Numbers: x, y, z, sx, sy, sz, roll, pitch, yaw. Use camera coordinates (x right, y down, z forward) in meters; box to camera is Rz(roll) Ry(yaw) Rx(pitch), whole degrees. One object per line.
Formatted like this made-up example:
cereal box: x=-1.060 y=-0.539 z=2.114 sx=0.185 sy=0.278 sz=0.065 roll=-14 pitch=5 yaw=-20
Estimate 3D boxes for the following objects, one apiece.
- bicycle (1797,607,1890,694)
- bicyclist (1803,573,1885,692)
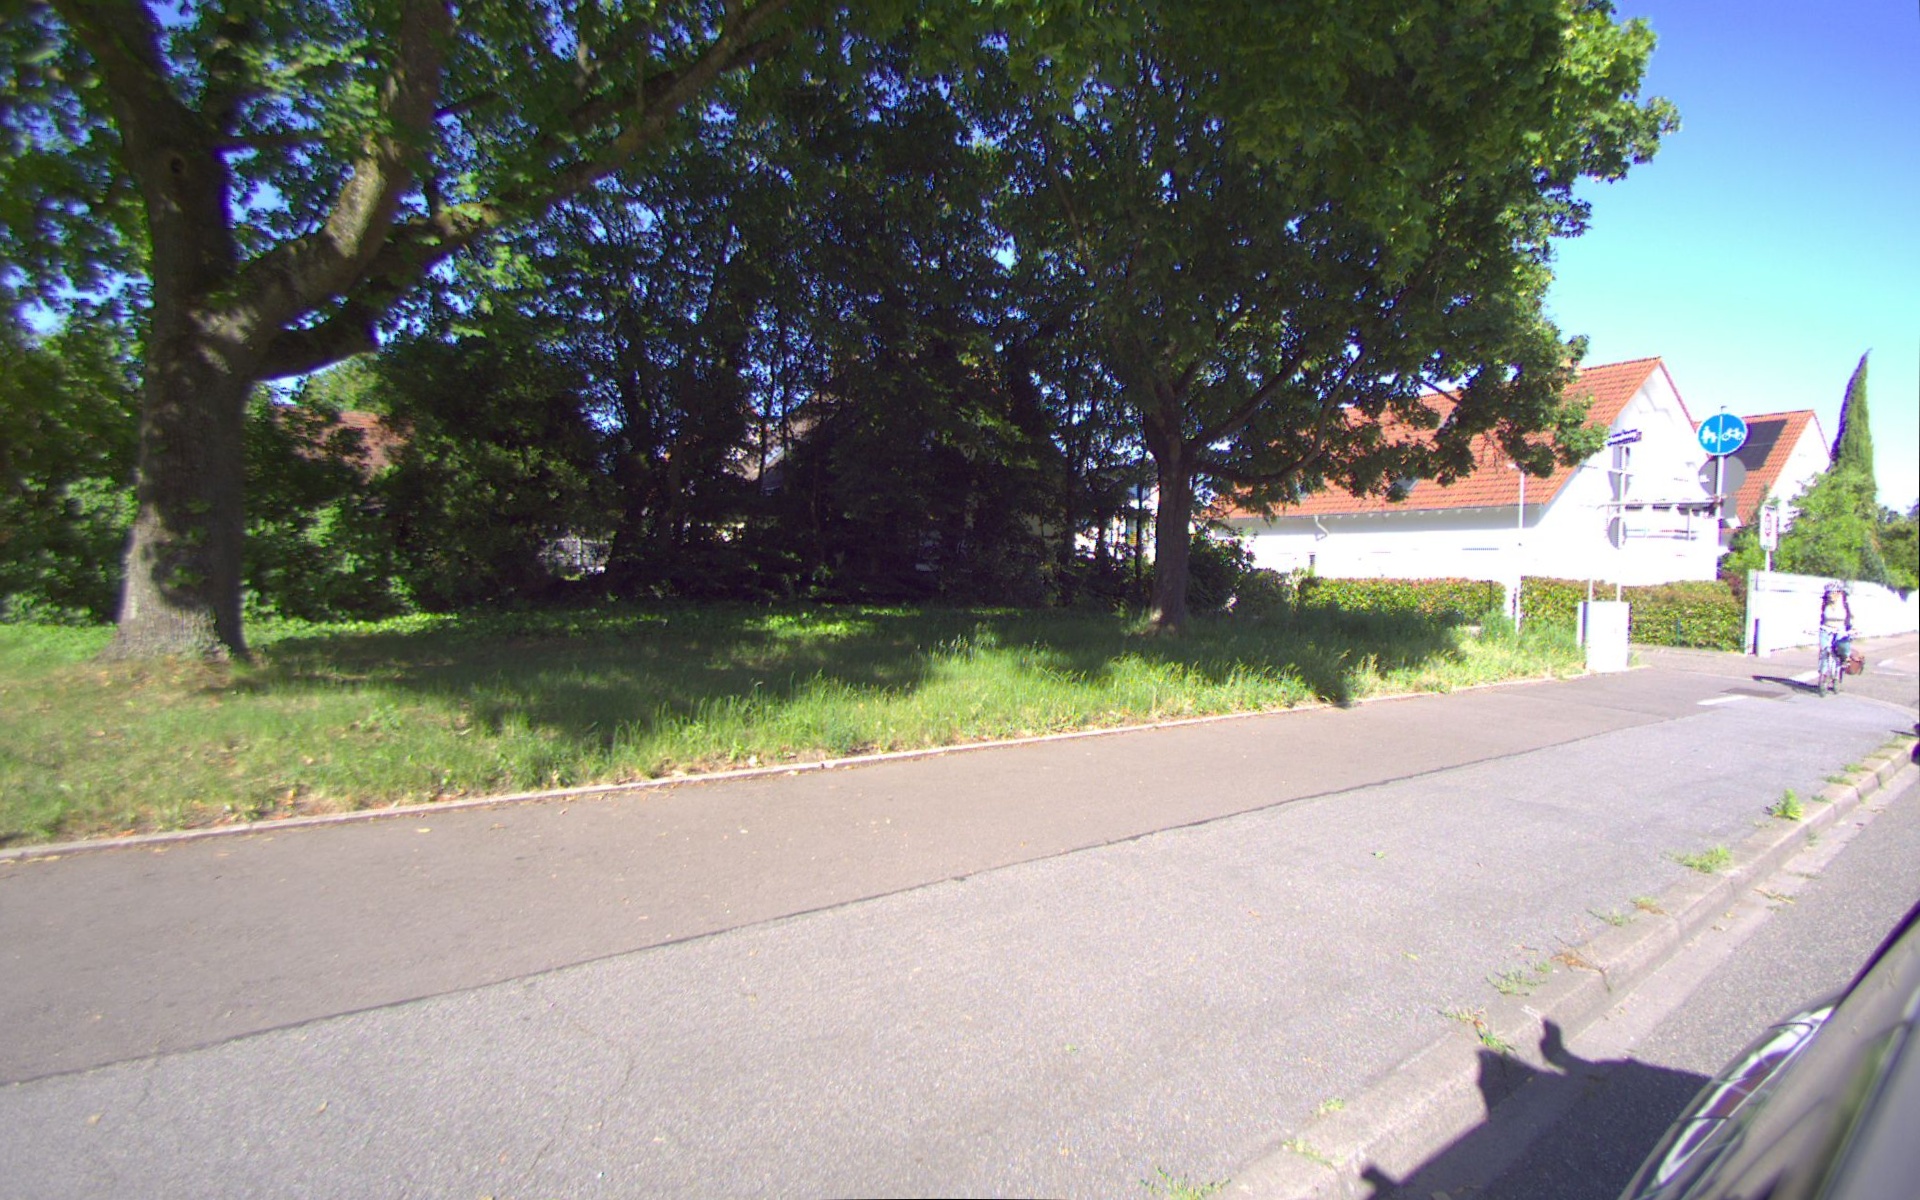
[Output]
bicycle: x=13.050 y=0.717 z=14.929 sx=2.101 sy=1.169 sz=0.576 roll=1 pitch=4 yaw=-38
bicyclist: x=13.062 y=0.466 z=14.954 sx=0.964 sy=1.652 sz=0.632 roll=1 pitch=4 yaw=-38
